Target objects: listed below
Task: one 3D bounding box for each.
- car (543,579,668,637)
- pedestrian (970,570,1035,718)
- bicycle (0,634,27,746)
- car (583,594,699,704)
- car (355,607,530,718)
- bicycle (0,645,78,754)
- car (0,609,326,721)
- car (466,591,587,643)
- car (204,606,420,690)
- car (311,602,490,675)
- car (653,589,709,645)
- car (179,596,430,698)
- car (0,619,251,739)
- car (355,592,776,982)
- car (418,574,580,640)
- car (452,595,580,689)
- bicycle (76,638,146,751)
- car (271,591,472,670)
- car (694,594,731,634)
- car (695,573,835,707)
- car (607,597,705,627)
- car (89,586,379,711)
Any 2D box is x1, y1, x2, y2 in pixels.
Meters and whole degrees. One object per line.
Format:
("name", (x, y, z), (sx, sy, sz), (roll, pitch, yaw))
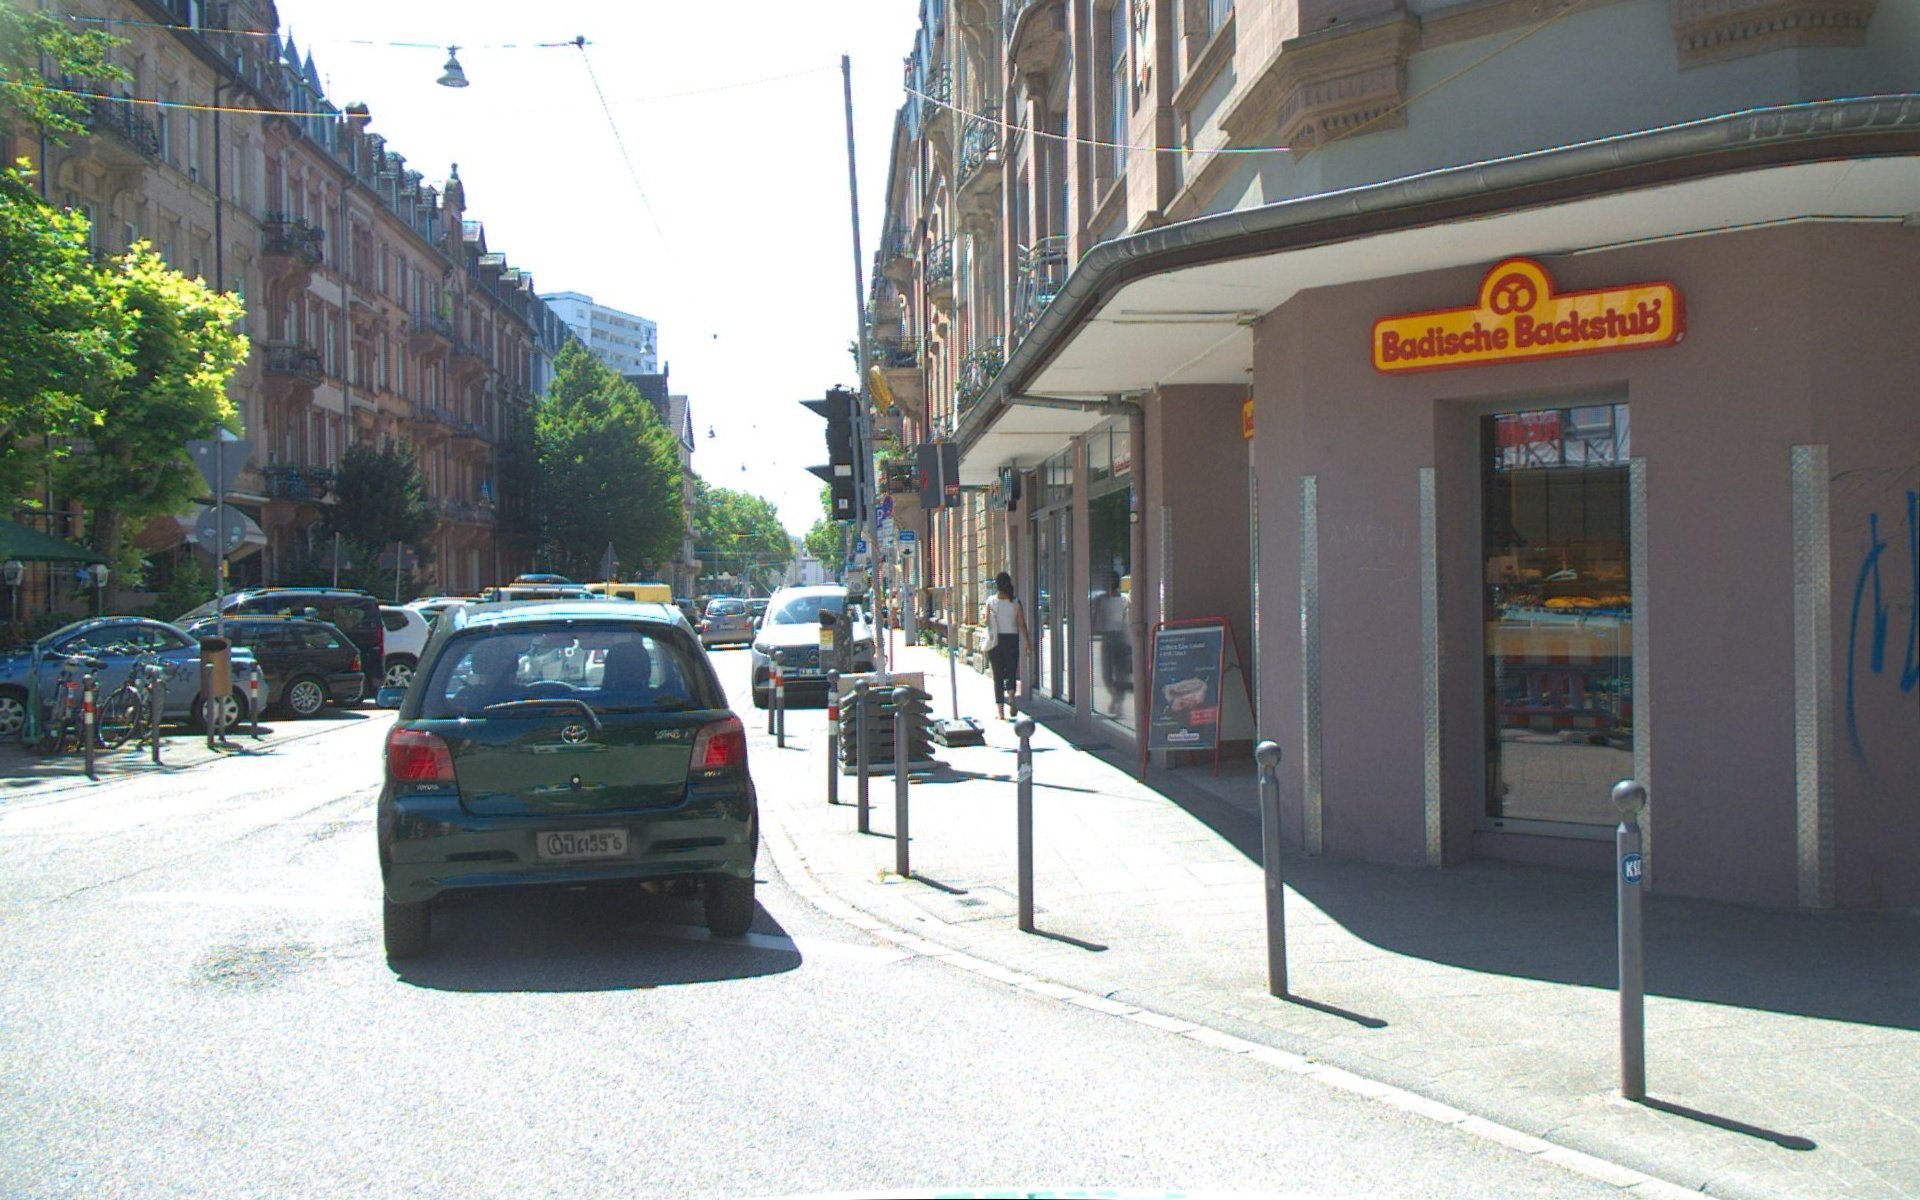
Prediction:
("car", (-14.190, 0.300, 66.274), (4.516, 2.226, 1.977), (-1, 0, -33))
("pedestrian", (0.481, 0.487, 18.987), (0.629, 1.652, 0.803), (-1, 0, -6))
("bicycle", (-10.652, 0.985, 18.217), (0.332, 1.177, 1.611), (1, 0, -19))
("car", (-4.916, 0.710, 25.779), (1.493, 1.547, 3.259), (-1, 1, -7))
("car", (-7.790, 0.878, 25.247), (1.721, 1.469, 3.995), (-2, 0, -6))
("bicycle", (-10.305, 1.078, 18.477), (0.483, 1.100, 1.888), (1, 0, -19))
("car", (-11.372, 0.866, 23.616), (3.959, 1.437, 1.944), (1, 0, -39))
("car", (-15.528, 0.588, 59.247), (3.868, 1.738, 1.847), (-1, 0, -30))
("car", (-12.202, 0.879, 31.170), (3.583, 1.483, 1.608), (1, 0, -31))
("car", (-13.653, 0.898, 40.390), (3.868, 1.647, 1.847), (-1, 0, -30))
("car", (-8.502, 0.480, 50.585), (1.493, 1.620, 3.259), (-1, 1, -6))
("car", (-11.586, 0.798, 29.287), (3.943, 1.687, 1.743), (1, 0, -30))
("car", (-11.310, 0.956, 20.992), (3.954, 1.399, 1.975), (1, 0, -35))
("car", (-2.113, 0.717, 8.226), (1.591, 1.511, 3.219), (0, 0, -22))
("car", (-15.115, 0.207, 54.290), (4.734, 2.029, 2.028), (-1, 0, -35))
("car", (-8.988, 0.798, 33.797), (1.721, 1.673, 4.372), (-4, 1, -6))
("bicycle", (-9.735, 1.054, 19.003), (0.483, 1.193, 1.675), (1, 0, -20))
("car", (-13.262, 0.644, 37.403), (1.834, 1.647, 3.897), (-1, 0, 43))
("car", (-10.516, 0.562, 70.410), (1.493, 1.620, 3.258), (-1, 1, -7))
("car", (-2.881, 0.542, 24.902), (1.835, 1.743, 4.498), (-3, 0, -6))
("car", (-15.521, 0.607, 84.509), (4.516, 1.459, 1.977), (-1, 0, -33))
("car", (-11.470, 0.730, 26.224), (3.955, 1.836, 1.747), (1, 0, -36))
